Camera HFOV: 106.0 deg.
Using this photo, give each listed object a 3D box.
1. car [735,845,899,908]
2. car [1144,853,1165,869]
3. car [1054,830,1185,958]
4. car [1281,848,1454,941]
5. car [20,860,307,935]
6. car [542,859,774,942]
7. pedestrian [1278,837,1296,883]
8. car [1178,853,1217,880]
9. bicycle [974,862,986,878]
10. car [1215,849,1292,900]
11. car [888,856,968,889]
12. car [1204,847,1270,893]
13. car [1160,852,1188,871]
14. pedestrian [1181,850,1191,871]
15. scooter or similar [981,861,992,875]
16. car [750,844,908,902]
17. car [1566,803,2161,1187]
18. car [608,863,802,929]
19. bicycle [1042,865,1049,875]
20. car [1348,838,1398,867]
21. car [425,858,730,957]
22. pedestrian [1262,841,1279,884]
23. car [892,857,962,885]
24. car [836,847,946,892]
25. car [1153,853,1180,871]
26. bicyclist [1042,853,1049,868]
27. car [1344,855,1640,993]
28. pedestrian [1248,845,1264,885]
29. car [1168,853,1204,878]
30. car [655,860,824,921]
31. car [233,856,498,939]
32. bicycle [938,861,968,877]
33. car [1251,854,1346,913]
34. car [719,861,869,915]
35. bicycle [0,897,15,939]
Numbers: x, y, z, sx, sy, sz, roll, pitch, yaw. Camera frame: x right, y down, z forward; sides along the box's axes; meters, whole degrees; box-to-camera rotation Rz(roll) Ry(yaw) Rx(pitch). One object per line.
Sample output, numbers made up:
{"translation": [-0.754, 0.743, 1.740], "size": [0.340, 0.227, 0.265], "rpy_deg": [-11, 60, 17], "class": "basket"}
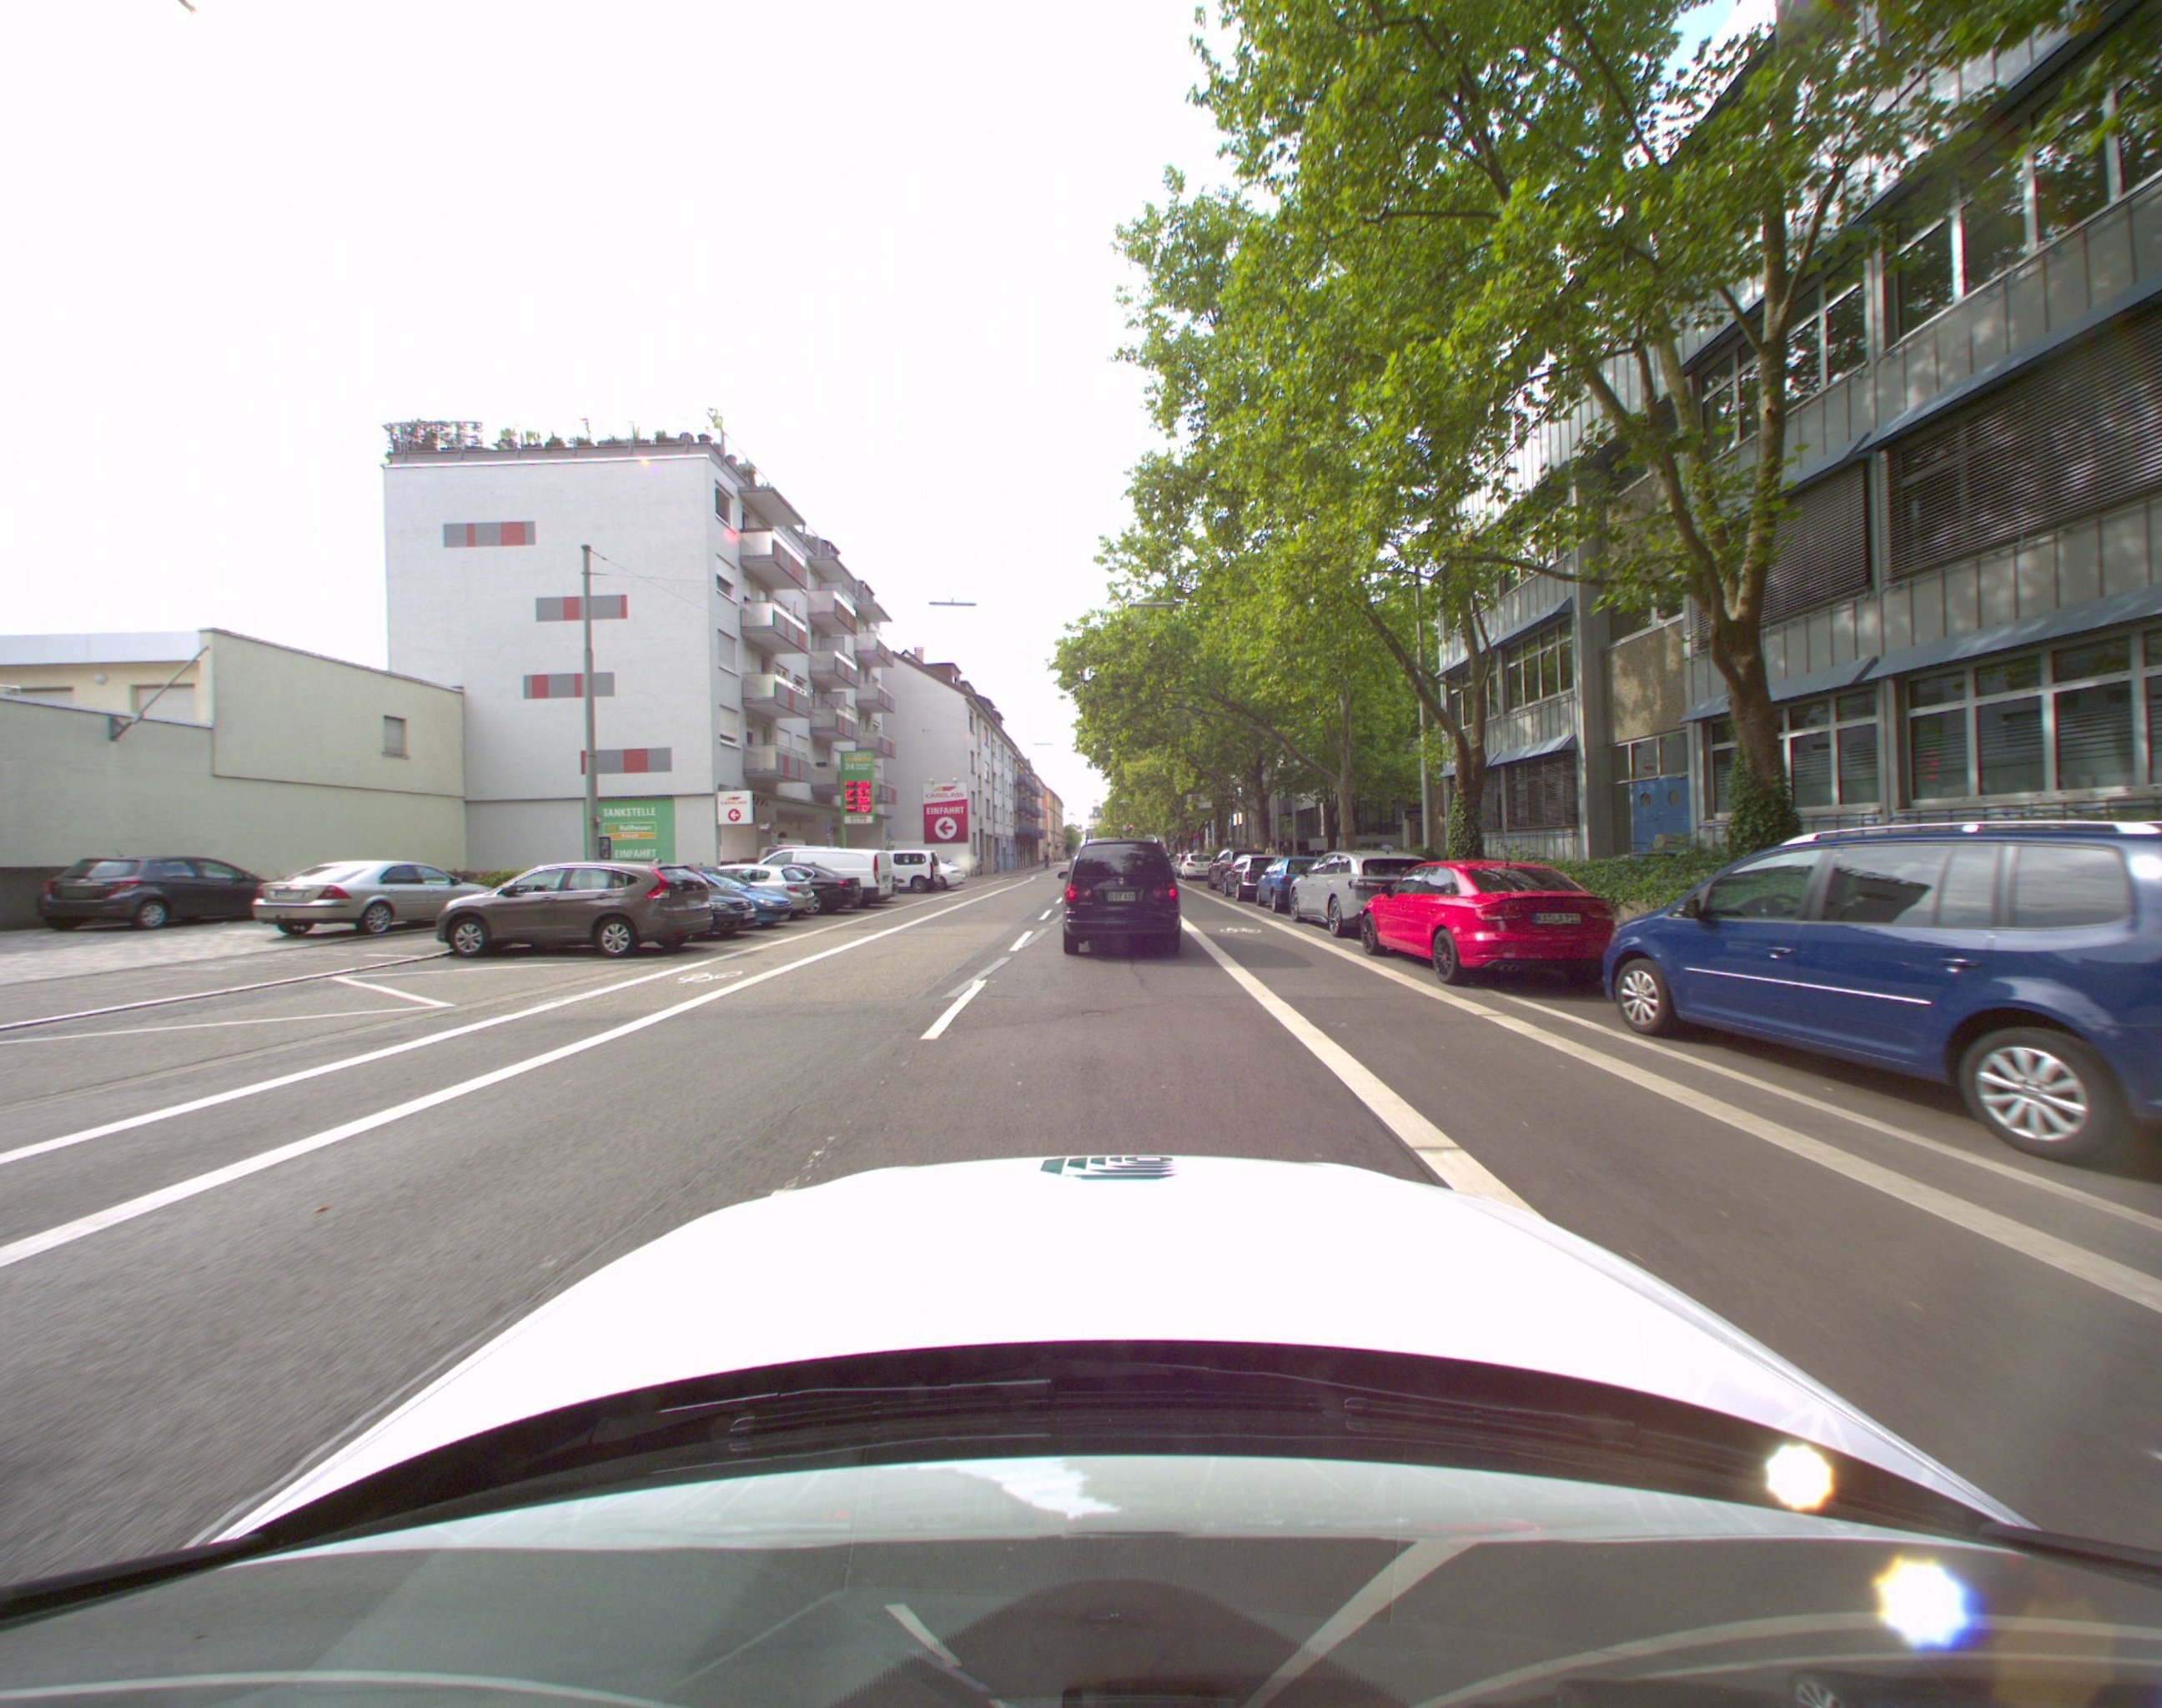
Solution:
{"translation": [-8.359, 0.690, 26.087], "size": [4.508, 1.878, 2.048], "rpy_deg": [0, 0, 2], "class": "car"}
{"translation": [7.239, 0.697, 80.537], "size": [1.637, 1.487, 3.510], "rpy_deg": [-1, 0, -2], "class": "car"}
{"translation": [0.567, 0.566, 13.241], "size": [1.806, 1.766, 3.738], "rpy_deg": [-1, 0, 1], "class": "car"}
{"translation": [5.341, 0.683, 15.917], "size": [1.722, 1.517, 4.872], "rpy_deg": [-1, 0, 1], "class": "car"}
{"translation": [-19.616, 0.851, 17.733], "size": [1.808, 1.332, 3.995], "rpy_deg": [0, 1, -4], "class": "car"}
{"translation": [-8.722, 0.920, 16.996], "size": [3.923, 1.569, 1.755], "rpy_deg": [0, 0, 3], "class": "car"}
{"translation": [8.965, 0.237, 35.459], "size": [0.640, 1.975, 0.693], "rpy_deg": [0, 1, 3], "class": "pedestrian"}
{"translation": [6.347, 0.656, 44.781], "size": [1.669, 1.394, 4.463], "rpy_deg": [0, 0, 2], "class": "car"}
{"translation": [-6.963, 1.107, 56.394], "size": [0.629, 1.034, 2.014], "rpy_deg": [0, 0, -2], "class": "bicycle"}
{"translation": [5.474, 0.629, 26.313], "size": [1.624, 1.470, 4.318], "rpy_deg": [-1, 0, 1], "class": "car"}
{"translation": [-7.022, 0.852, 37.565], "size": [3.332, 1.497, 1.596], "rpy_deg": [0, -1, -1], "class": "car"}
{"translation": [5.933, 0.568, 31.477], "size": [1.663, 1.640, 4.503], "rpy_deg": [1, 0, 0], "class": "car"}
{"translation": [6.878, 0.553, 60.537], "size": [1.637, 1.413, 3.413], "rpy_deg": [0, 0, -2], "class": "car"}
{"translation": [9.095, 0.541, 70.513], "size": [0.764, 1.831, 0.516], "rpy_deg": [-1, 0, 2], "class": "pedestrian"}
{"translation": [-6.860, 1.006, 59.220], "size": [0.630, 1.034, 2.012], "rpy_deg": [-1, 0, -4], "class": "scooter or similar"}
{"translation": [-8.794, 0.640, 28.727], "size": [4.899, 1.903, 2.000], "rpy_deg": [1, 0, 1], "class": "car"}
{"translation": [5.426, 0.604, 5.445], "size": [1.653, 1.650, 4.417], "rpy_deg": [0, 0, -1], "class": "car"}
{"translation": [-8.689, 0.947, 19.039], "size": [3.669, 1.426, 1.753], "rpy_deg": [0, 0, 0], "class": "car"}
{"translation": [-3.871, 1.773, 88.871], "size": [0.629, 1.034, 2.014], "rpy_deg": [0, -3, -1], "class": "bicycle"}
{"translation": [15.930, -0.115, 44.591], "size": [1.466, 1.458, 3.919], "rpy_deg": [0, 1, 2], "class": "car"}
{"translation": [-8.875, 0.902, 14.634], "size": [4.240, 1.605, 1.969], "rpy_deg": [0, 1, 2], "class": "car"}
{"translation": [8.290, 0.365, 35.626], "size": [0.585, 1.838, 0.693], "rpy_deg": [0, 1, 3], "class": "pedestrian"}
{"translation": [-7.990, 0.883, 42.482], "size": [3.332, 1.402, 1.503], "rpy_deg": [0, -1, -1], "class": "car"}
{"translation": [-8.180, 0.679, 35.289], "size": [4.293, 1.870, 1.824], "rpy_deg": [0, -1, 0], "class": "car"}
{"translation": [6.871, 0.643, 65.691], "size": [1.637, 1.395, 3.510], "rpy_deg": [0, 0, -2], "class": "car"}
{"translation": [-3.881, 0.714, 89.139], "size": [0.651, 1.611, 0.656], "rpy_deg": [0, -3, -1], "class": "bicyclist"}
{"translation": [4.977, 0.743, 10.667], "size": [1.670, 1.394, 4.461], "rpy_deg": [-1, 0, 1], "class": "car"}
{"translation": [7.637, 0.476, 35.583], "size": [0.585, 1.702, 0.508], "rpy_deg": [0, 1, 2], "class": "pedestrian"}
{"translation": [6.312, 0.673, 49.197], "size": [1.637, 1.413, 3.413], "rpy_deg": [0, 0, -2], "class": "car"}
{"translation": [-8.874, 0.916, 21.396], "size": [3.669, 1.485, 1.753], "rpy_deg": [0, 0, 0], "class": "car"}
{"translation": [-14.748, 0.809, 17.173], "size": [1.751, 1.519, 4.236], "rpy_deg": [0, 0, 2], "class": "car"}
{"translation": [-8.623, 1.013, 54.860], "size": [2.000, 1.034, 0.410], "rpy_deg": [0, 1, 3], "class": "bicycle"}
{"translation": [5.617, 0.713, 21.457], "size": [1.615, 1.386, 4.003], "rpy_deg": [1, 0, 3], "class": "car"}
{"translation": [-8.193, 0.943, 23.474], "size": [3.669, 1.444, 1.754], "rpy_deg": [0, 0, 1], "class": "car"}
{"translation": [-20.585, 1.190, 14.706], "size": [1.977, 0.742, 0.490], "rpy_deg": [-1, 0, -1], "class": "bicycle"}
